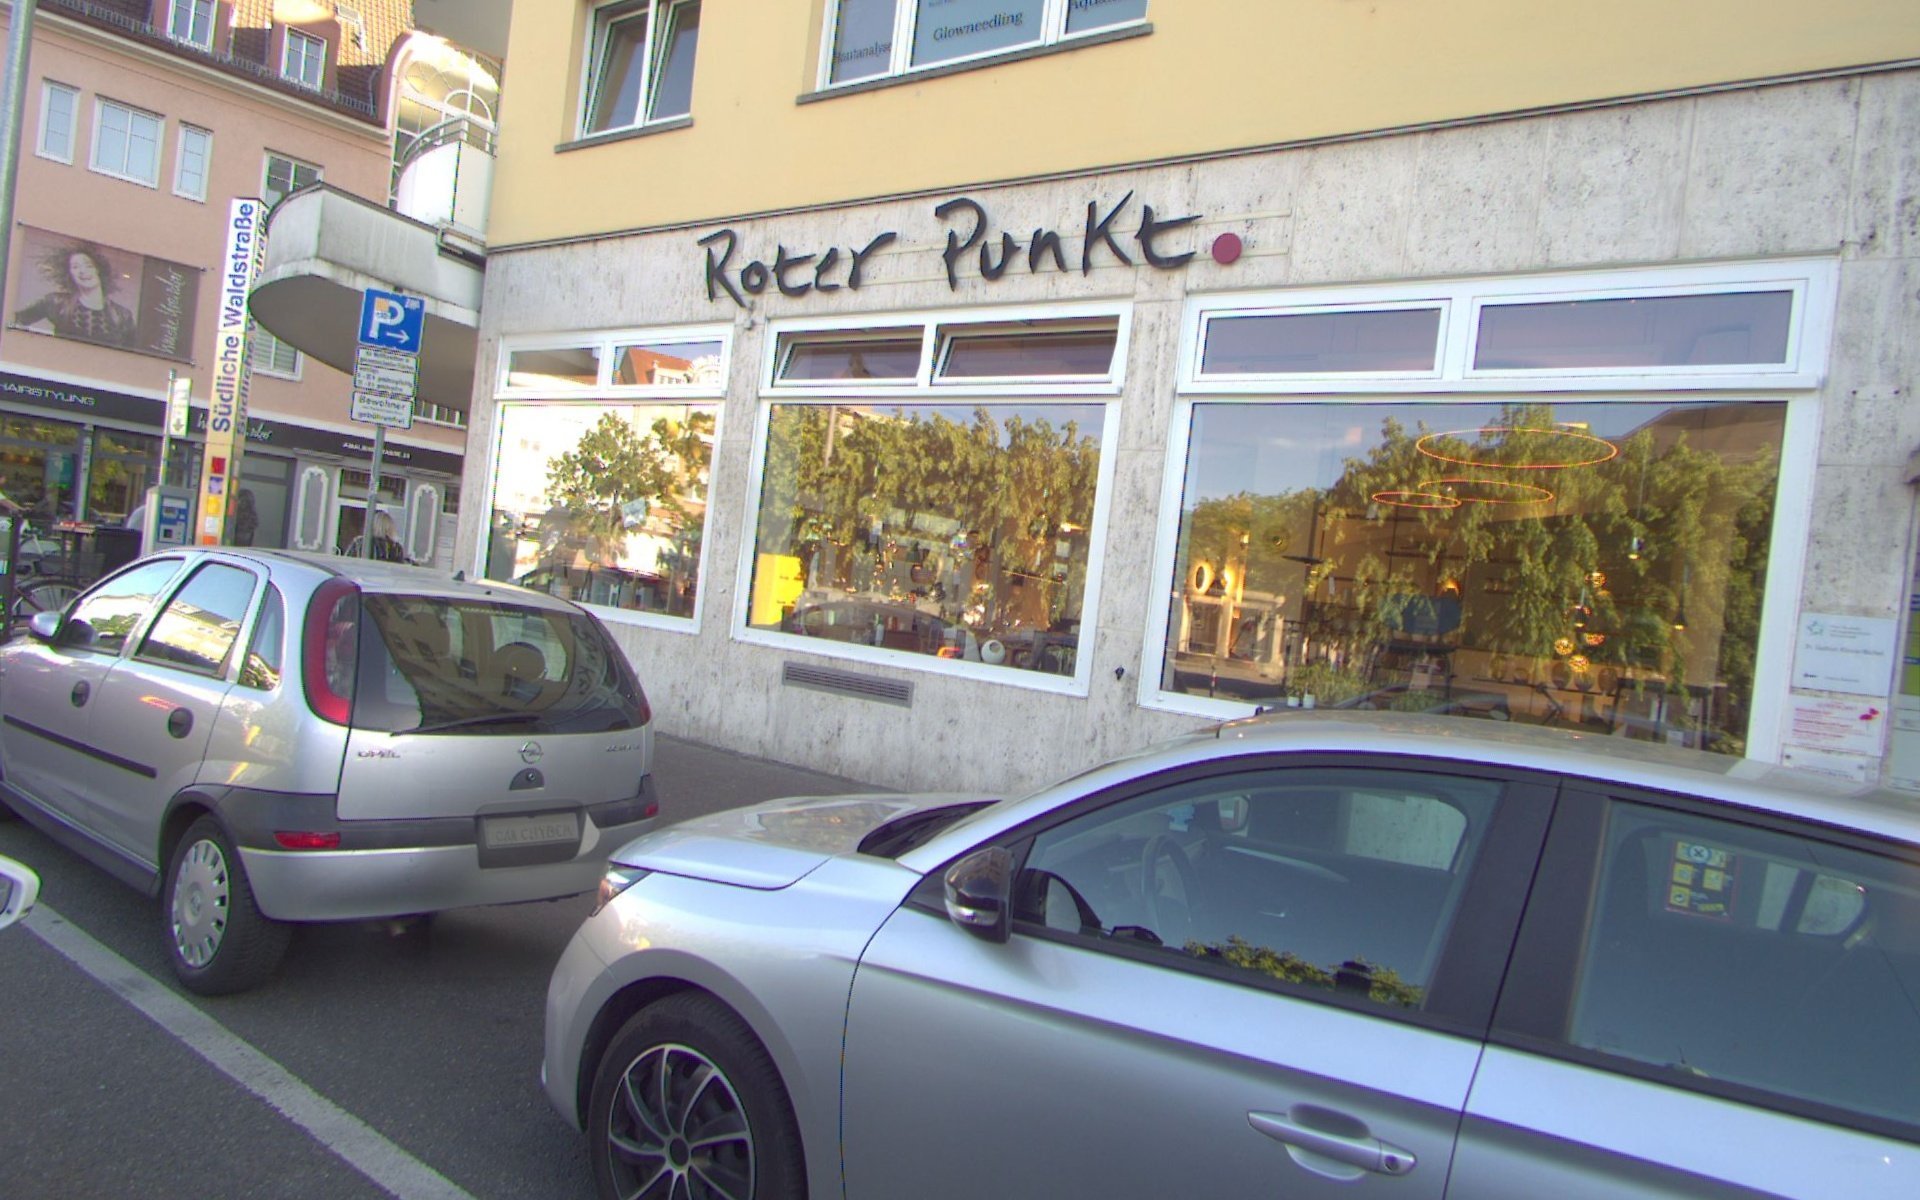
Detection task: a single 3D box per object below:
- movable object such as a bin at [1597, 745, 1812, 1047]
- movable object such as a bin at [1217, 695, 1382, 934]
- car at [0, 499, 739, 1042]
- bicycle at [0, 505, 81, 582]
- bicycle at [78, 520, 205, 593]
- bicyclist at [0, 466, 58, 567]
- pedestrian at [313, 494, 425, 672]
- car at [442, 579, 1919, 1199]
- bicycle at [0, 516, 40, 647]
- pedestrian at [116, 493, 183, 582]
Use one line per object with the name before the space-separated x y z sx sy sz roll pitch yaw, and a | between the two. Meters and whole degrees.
movable object such as a bin | 3.327 1.277 4.566 0.609 1.082 0.703 7 3 31
movable object such as a bin | 1.860 1.118 5.479 0.609 1.082 0.703 7 3 31
car | -3.027 0.425 4.534 3.822 1.411 1.624 7 -1 33
bicycle | -16.374 -1.007 17.093 2.116 1.215 0.621 5 2 -43
bicycle | -14.537 -0.766 17.903 0.583 1.057 1.612 6 -2 44
bicyclist | -16.232 -1.449 17.187 1.094 1.608 0.621 7 0 -42
pedestrian | -5.779 -0.157 9.838 0.618 1.654 0.661 6 2 36
car | 0.950 0.936 2.196 4.008 1.444 1.674 7 -1 30
bicycle | -9.182 -0.212 8.749 0.425 1.175 1.629 7 1 30
pedestrian | -14.458 -1.106 17.949 0.575 1.457 0.742 6 -1 44
